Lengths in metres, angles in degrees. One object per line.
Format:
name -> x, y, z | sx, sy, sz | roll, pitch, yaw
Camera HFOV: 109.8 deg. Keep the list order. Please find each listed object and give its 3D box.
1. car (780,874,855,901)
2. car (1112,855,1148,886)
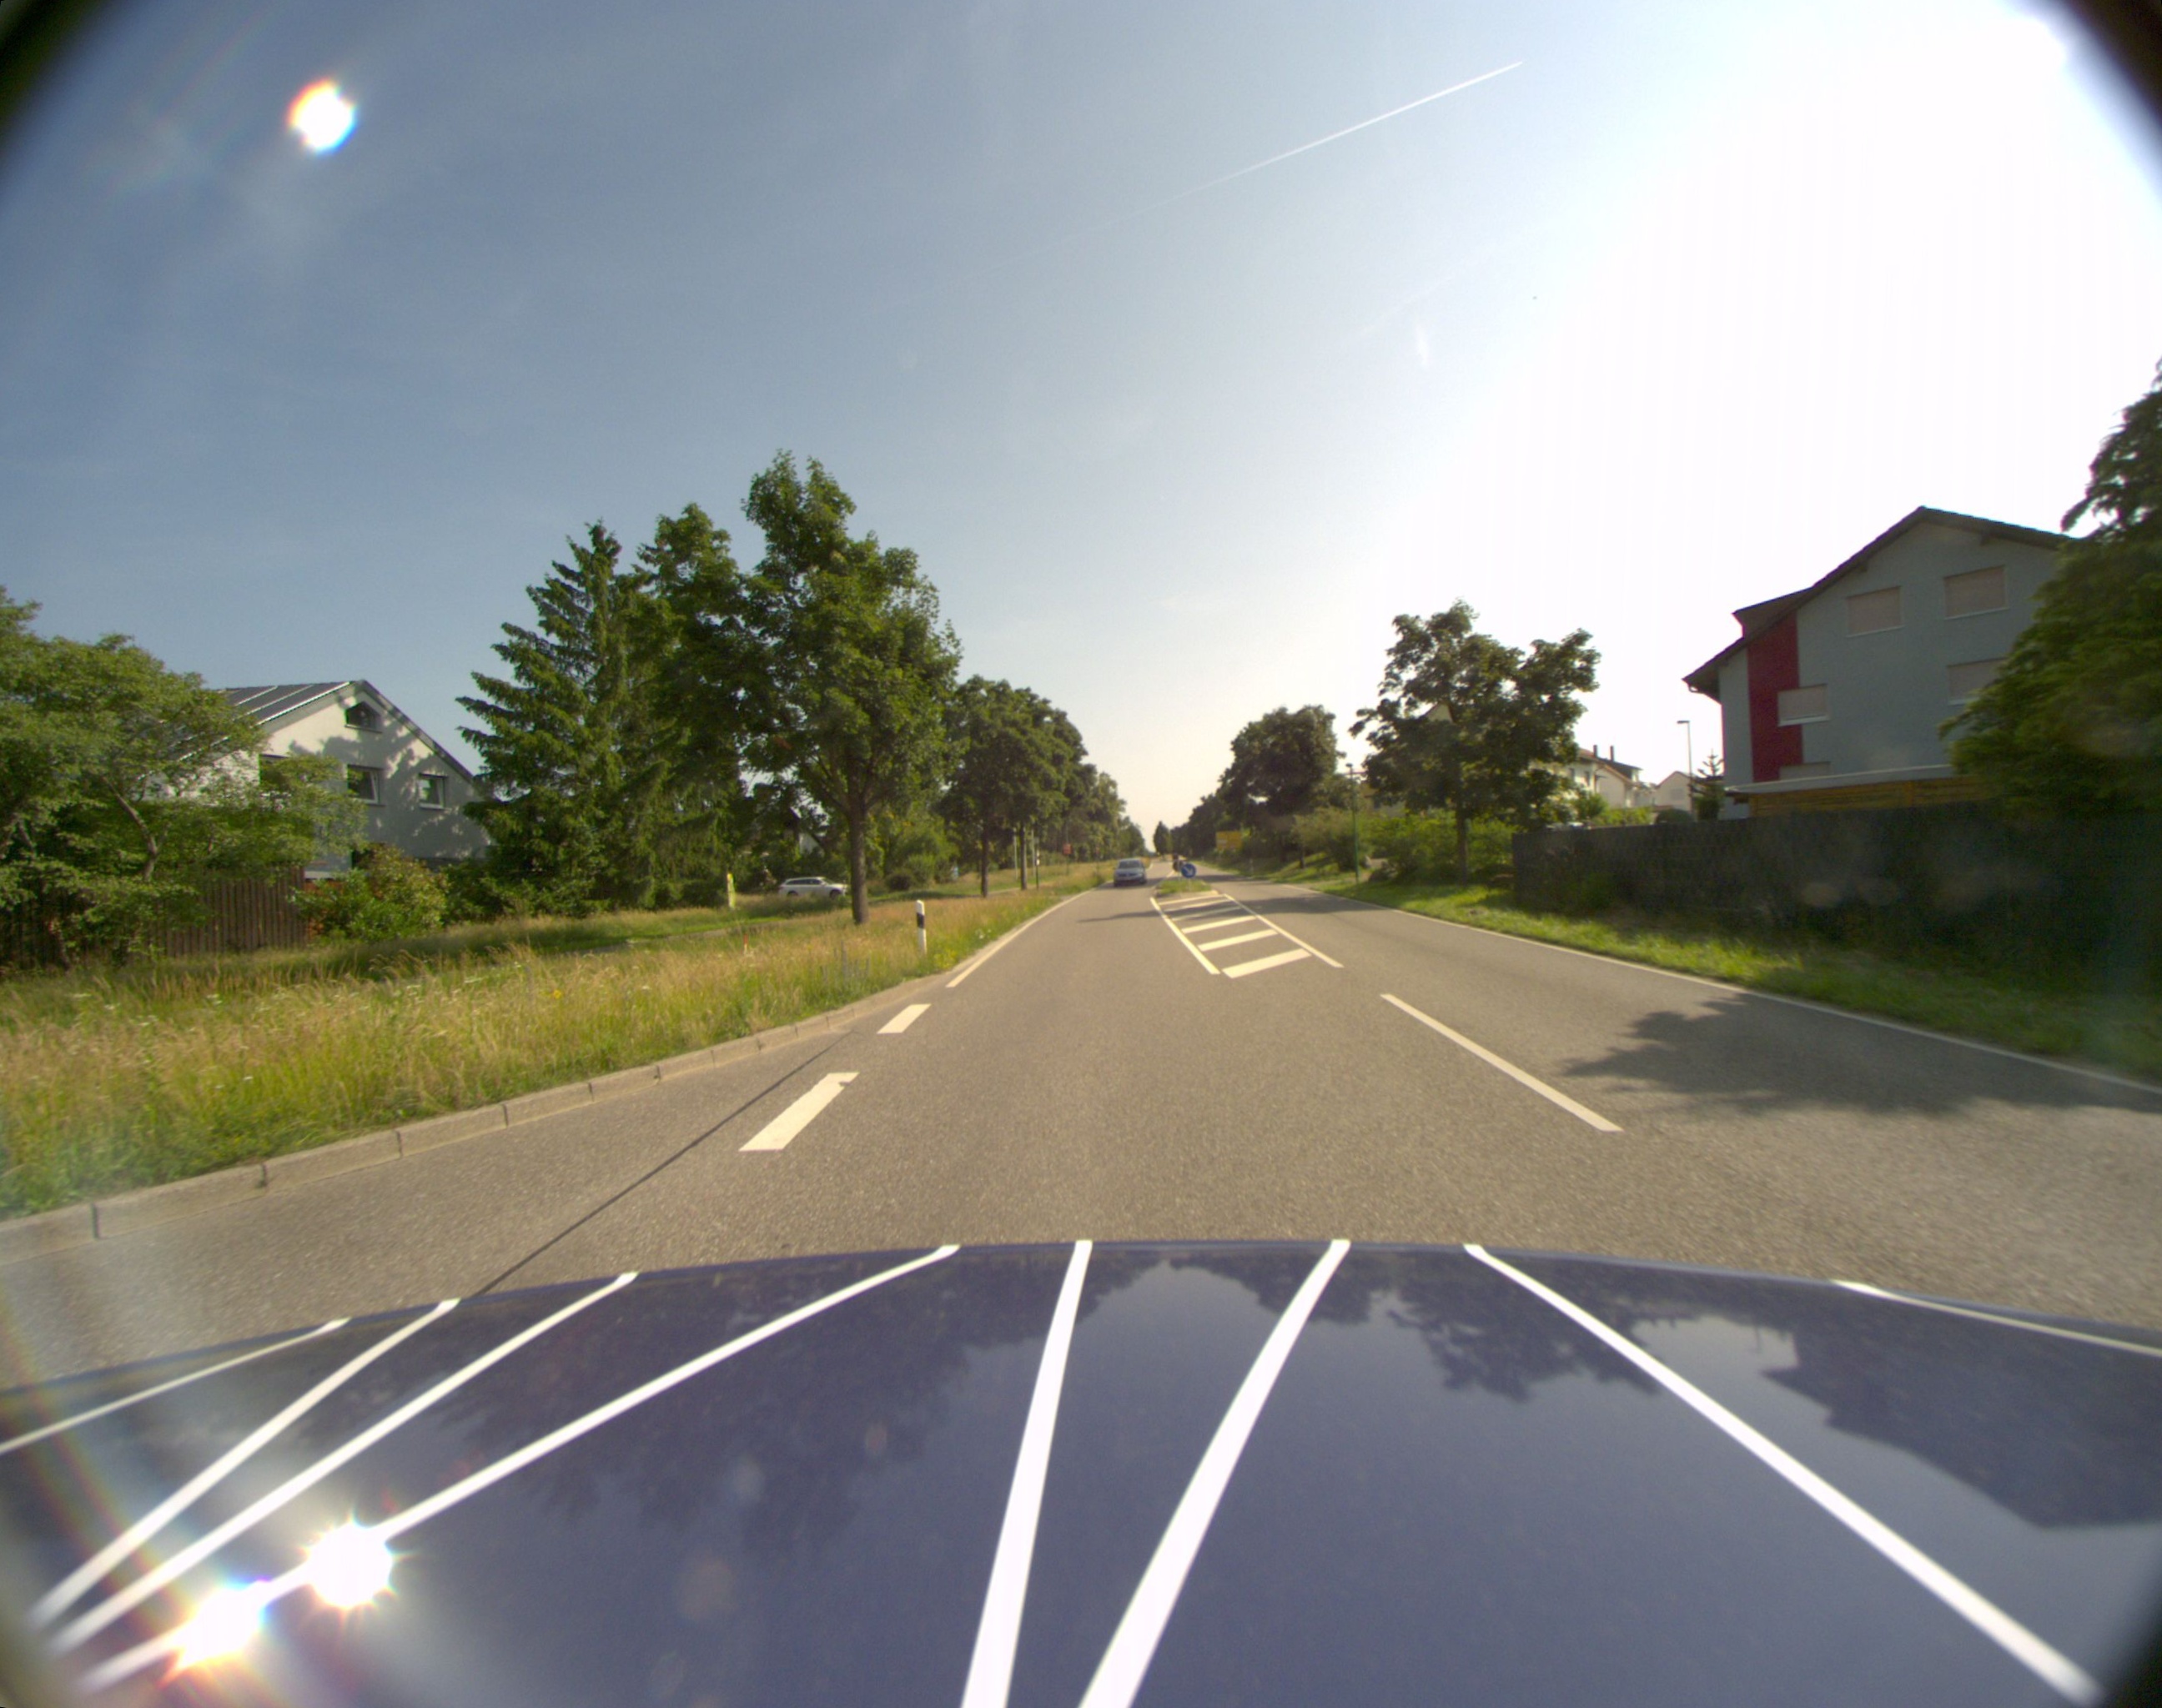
car -> -16.395, 2.081, 47.384 | 3.997, 1.425, 1.815 | -3, 0, 1
car -> 2.958, 0.933, 44.911 | 1.807, 1.592, 4.272 | -3, 0, 7
